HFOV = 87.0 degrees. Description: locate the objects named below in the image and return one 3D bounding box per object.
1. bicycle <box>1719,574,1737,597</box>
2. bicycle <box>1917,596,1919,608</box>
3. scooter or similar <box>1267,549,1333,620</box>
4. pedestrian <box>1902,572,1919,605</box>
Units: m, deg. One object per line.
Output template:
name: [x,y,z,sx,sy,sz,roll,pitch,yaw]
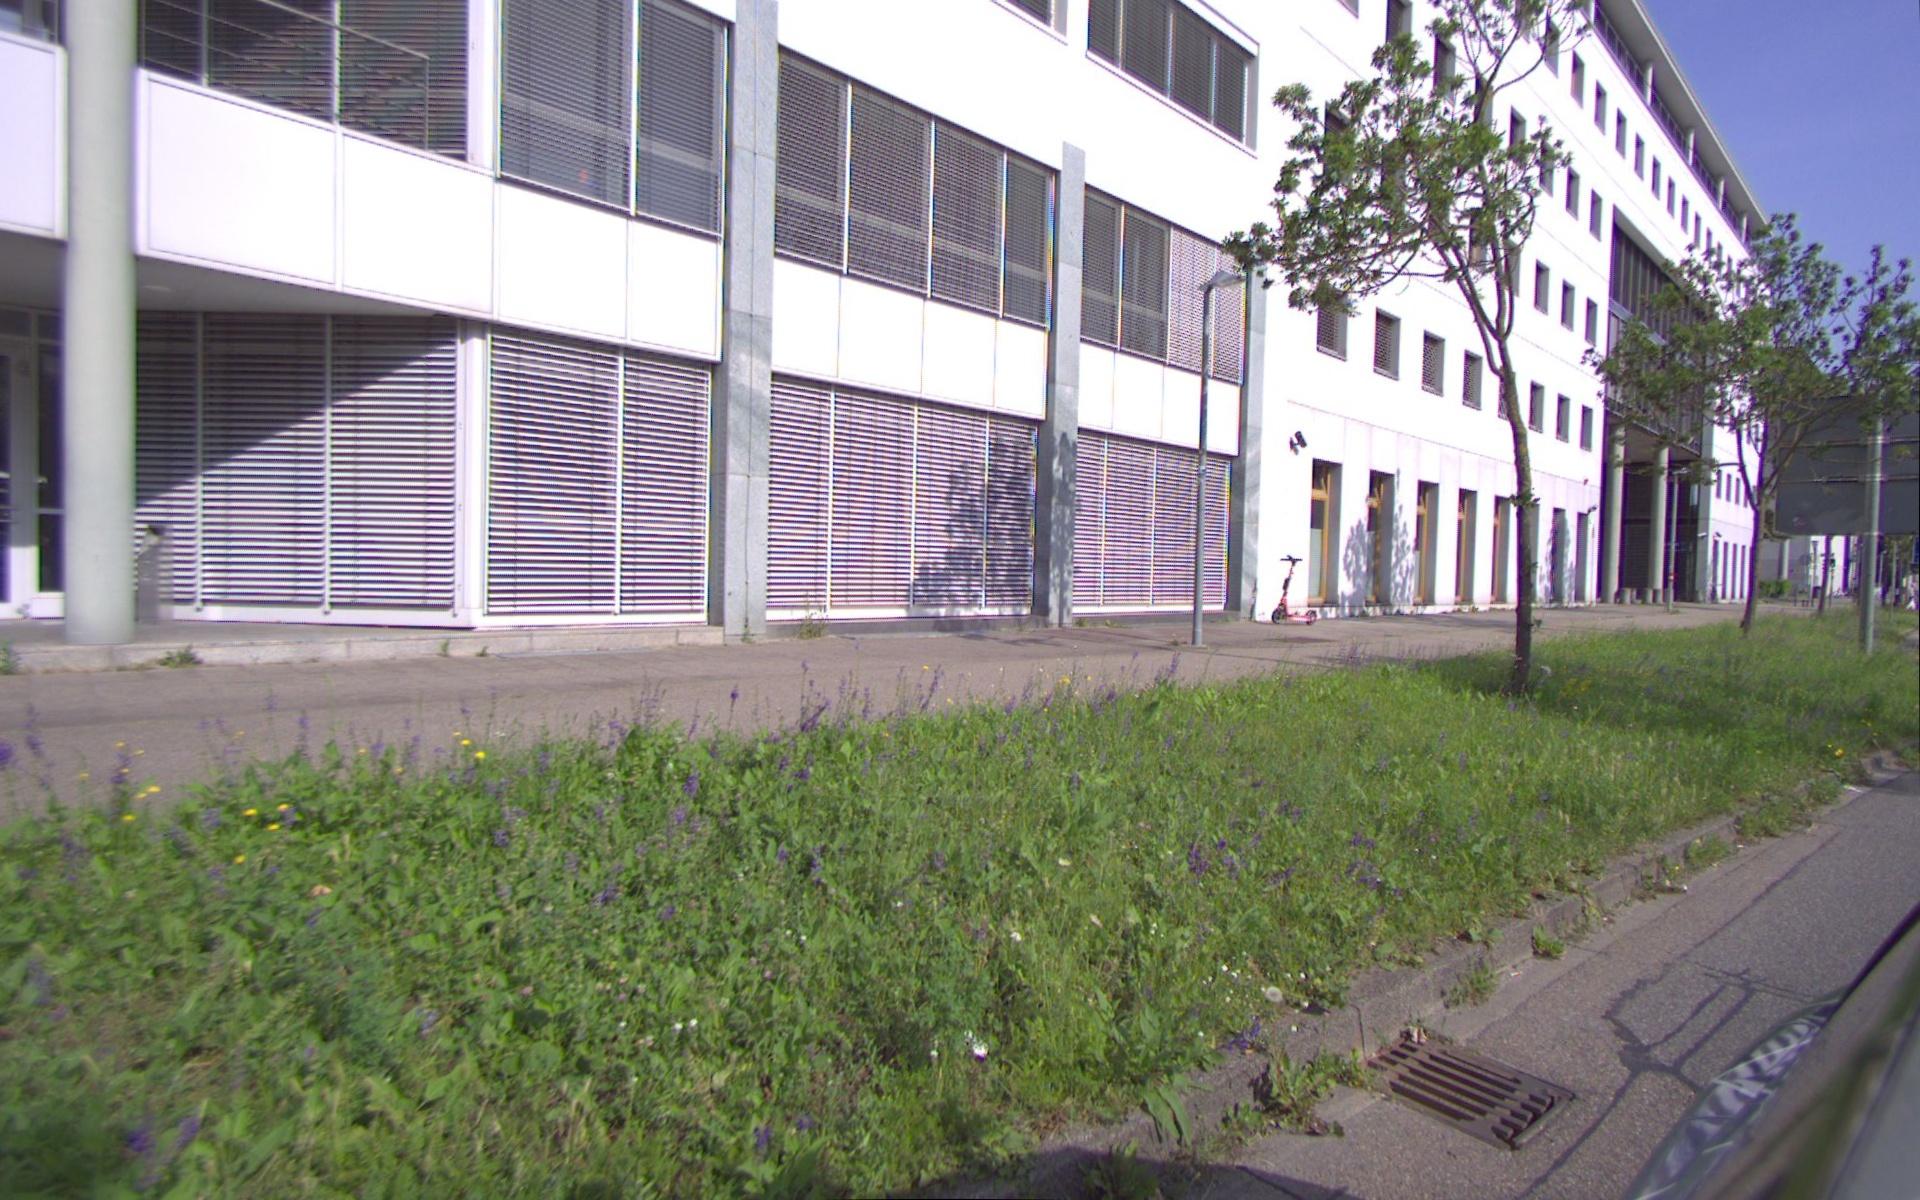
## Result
bicycle: [37.060,-0.712,48.834,0.494,1.099,1.526,5,4,43]
bicycle: [50.380,0.189,52.269,0.511,0.639,1.277,0,9,-36]
scooter or similar: [6.070,-0.277,18.069,1.231,1.228,0.464,0,3,-38]
pedestrian: [49.126,-0.588,51.981,0.698,1.635,0.782,1,3,-17]
